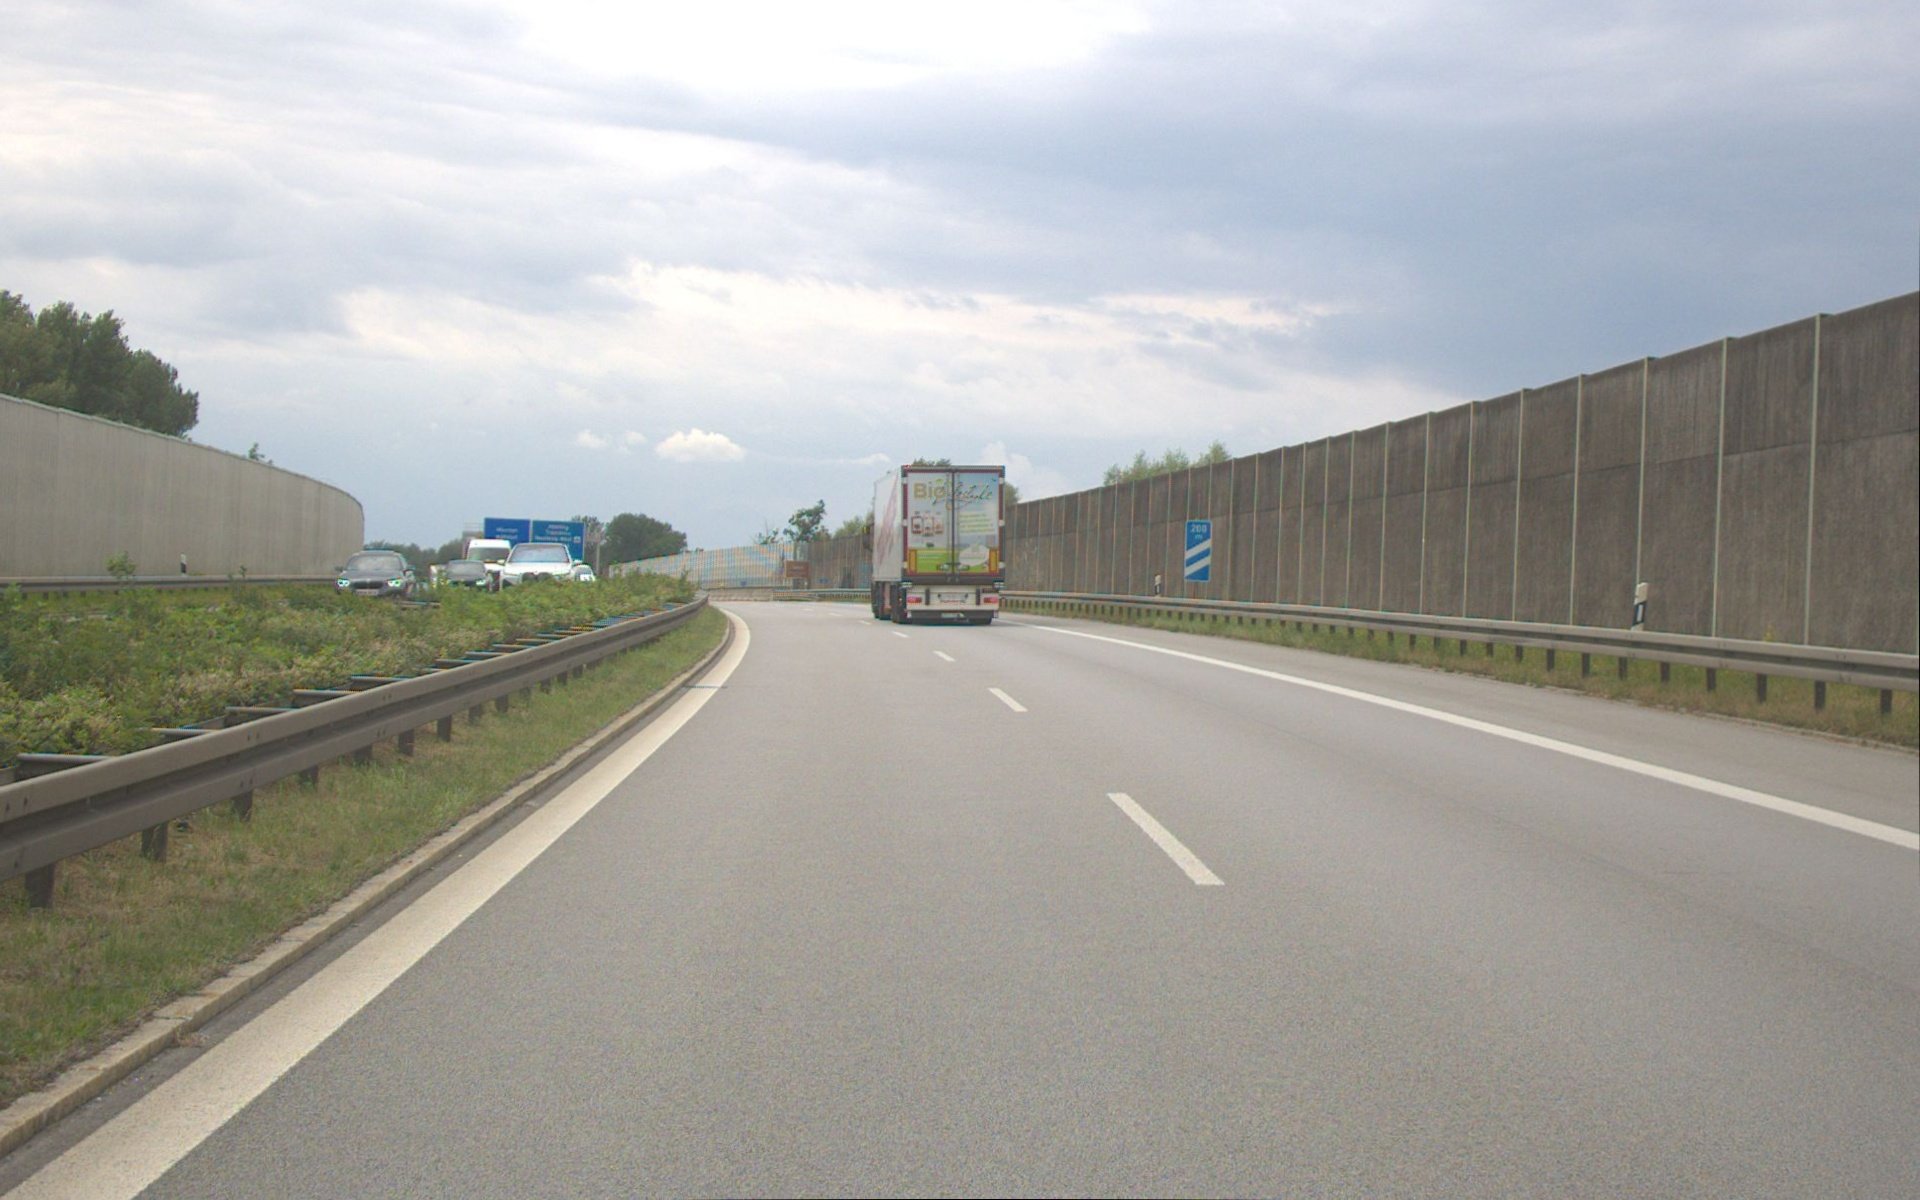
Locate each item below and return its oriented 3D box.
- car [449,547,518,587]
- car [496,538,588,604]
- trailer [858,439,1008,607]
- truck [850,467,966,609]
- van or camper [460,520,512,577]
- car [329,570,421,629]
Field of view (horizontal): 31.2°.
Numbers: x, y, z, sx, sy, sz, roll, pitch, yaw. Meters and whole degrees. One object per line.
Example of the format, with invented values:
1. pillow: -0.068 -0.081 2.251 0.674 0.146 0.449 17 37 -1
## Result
1. car: -16.894 -1.175 122.115 1.993 1.360 4.968 1 1 -3
2. car: -11.034 -0.776 90.996 1.964 1.664 4.925 2 1 -2
3. trailer: -0.890 -1.933 92.828 2.792 4.160 14.105 1 0 -5
4. truck: -1.548 -1.744 99.305 2.755 3.946 5.678 1 0 -7
5. van or camper: -20.686 -2.231 150.325 1.993 2.433 6.310 0 1 -6
6. car: -14.584 -0.022 85.941 1.722 1.412 4.555 0 1 -3
